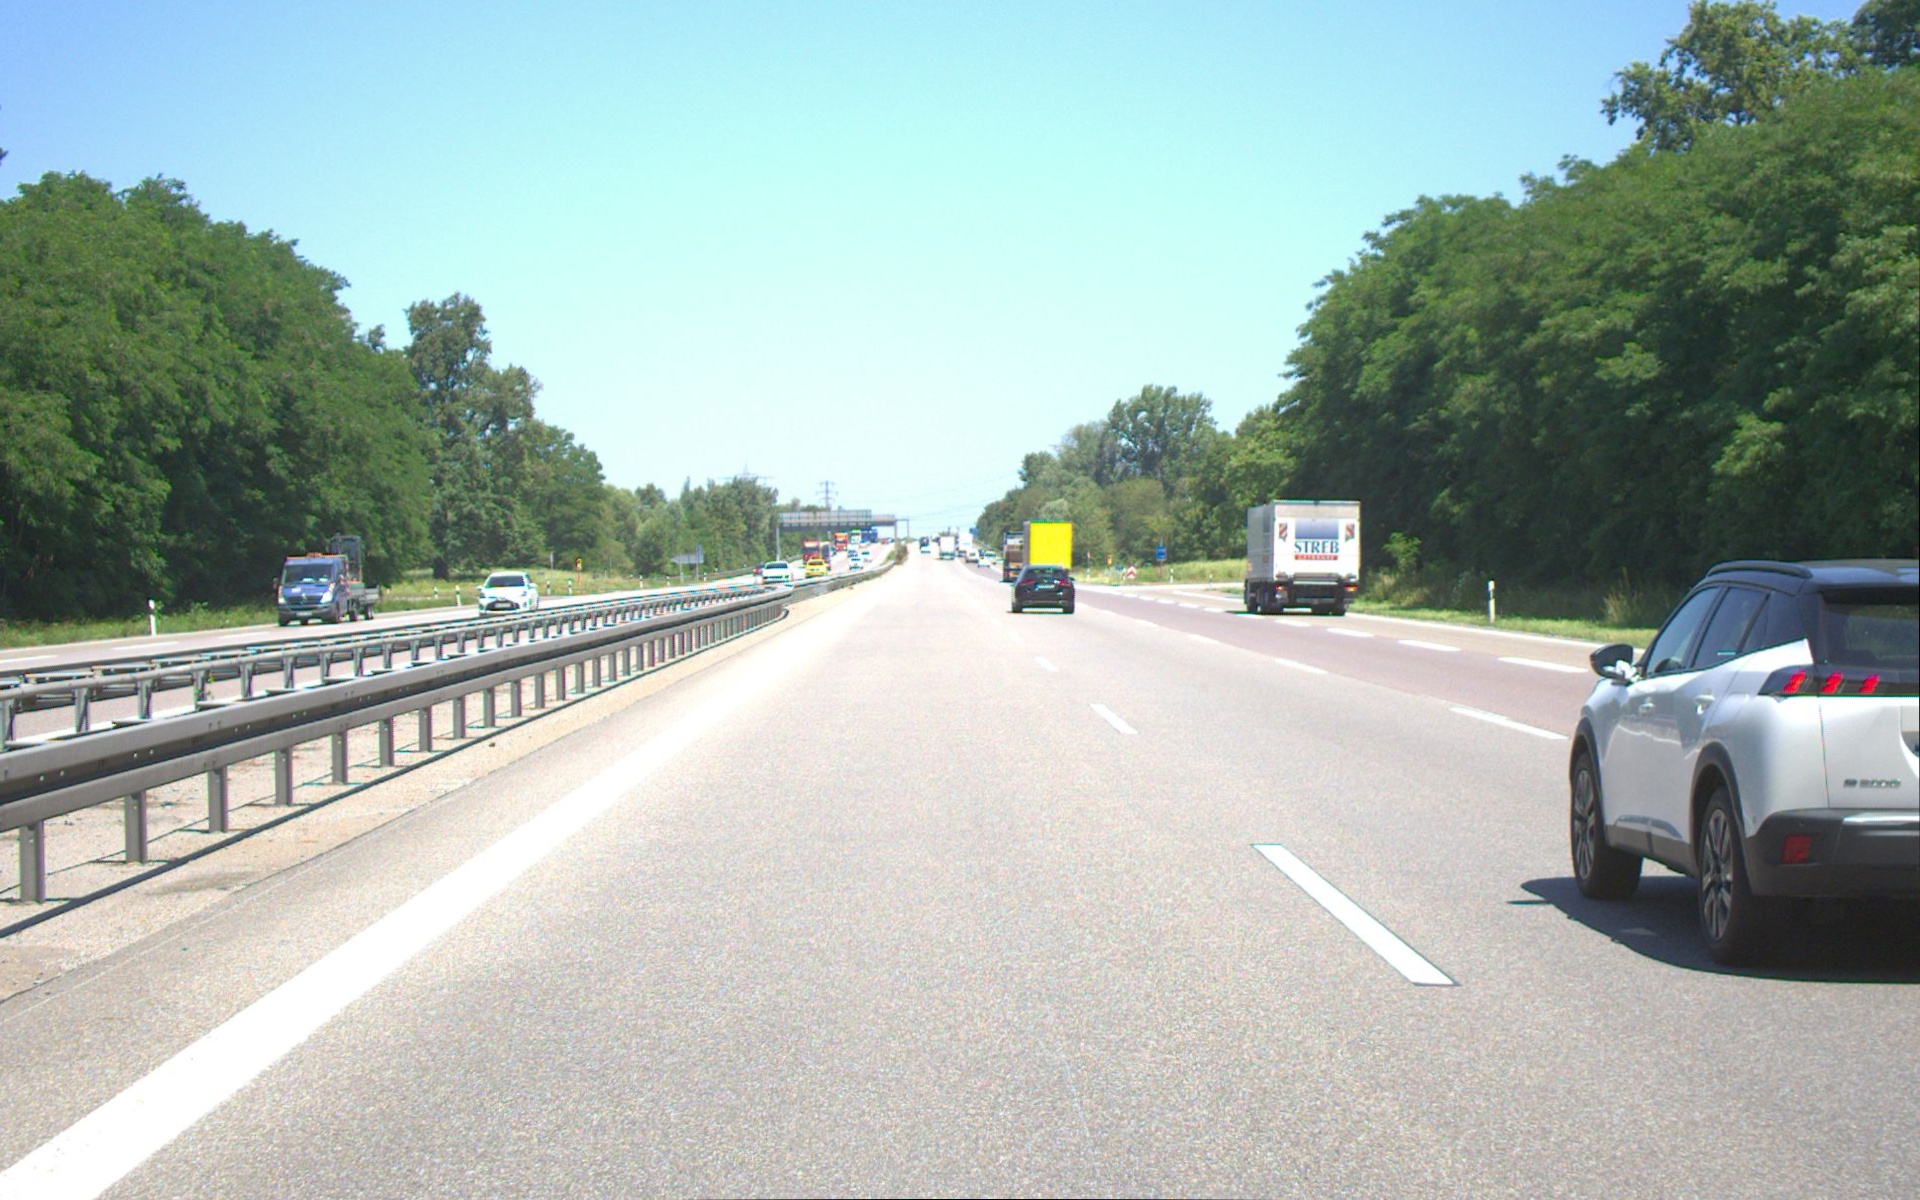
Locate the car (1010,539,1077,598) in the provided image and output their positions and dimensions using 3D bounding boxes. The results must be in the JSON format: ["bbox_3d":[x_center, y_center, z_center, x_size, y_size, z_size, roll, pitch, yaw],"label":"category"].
[{"bbox_3d":[2.479,-0.940,103.042,1.827,1.700,4.000,1,1,-1],"label":"car"}]

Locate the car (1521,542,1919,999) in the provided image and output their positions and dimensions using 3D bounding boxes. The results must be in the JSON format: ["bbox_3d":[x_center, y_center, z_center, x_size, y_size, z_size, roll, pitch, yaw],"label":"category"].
[{"bbox_3d":[3.693,0.572,14.448,1.827,1.602,4.809,0,1,-1],"label":"car"}]

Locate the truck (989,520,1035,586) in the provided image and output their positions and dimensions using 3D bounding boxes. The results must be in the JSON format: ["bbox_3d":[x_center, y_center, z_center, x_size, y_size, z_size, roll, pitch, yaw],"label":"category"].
[{"bbox_3d":[3.940,-3.568,263.986,3.367,4.864,15.086,1,1,0],"label":"truck"}]

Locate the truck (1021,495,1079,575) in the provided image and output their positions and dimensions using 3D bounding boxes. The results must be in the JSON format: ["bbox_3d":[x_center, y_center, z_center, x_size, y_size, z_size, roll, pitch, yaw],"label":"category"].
[{"bbox_3d":[5.709,-4.112,220.830,3.377,4.864,15.086,1,1,0],"label":"truck"}]

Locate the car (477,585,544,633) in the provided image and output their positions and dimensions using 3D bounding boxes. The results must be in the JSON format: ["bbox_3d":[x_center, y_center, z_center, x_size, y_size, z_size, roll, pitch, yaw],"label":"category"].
[{"bbox_3d":[-14.920,0.279,114.316,1.688,1.539,4.204,1,1,-1],"label":"car"}]

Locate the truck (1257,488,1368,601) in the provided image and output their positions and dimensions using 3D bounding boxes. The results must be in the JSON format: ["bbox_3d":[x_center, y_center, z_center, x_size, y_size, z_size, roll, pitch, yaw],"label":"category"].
[{"bbox_3d":[10.836,-1.689,106.574,3.028,3.308,10.769,1,1,4],"label":"truck"}]

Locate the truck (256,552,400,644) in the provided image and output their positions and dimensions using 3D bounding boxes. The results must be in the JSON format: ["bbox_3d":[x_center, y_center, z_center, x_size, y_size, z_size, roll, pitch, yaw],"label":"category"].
[{"bbox_3d":[-22.137,-0.135,121.098,2.753,2.980,12.856,-1,1,-1],"label":"truck"}]
